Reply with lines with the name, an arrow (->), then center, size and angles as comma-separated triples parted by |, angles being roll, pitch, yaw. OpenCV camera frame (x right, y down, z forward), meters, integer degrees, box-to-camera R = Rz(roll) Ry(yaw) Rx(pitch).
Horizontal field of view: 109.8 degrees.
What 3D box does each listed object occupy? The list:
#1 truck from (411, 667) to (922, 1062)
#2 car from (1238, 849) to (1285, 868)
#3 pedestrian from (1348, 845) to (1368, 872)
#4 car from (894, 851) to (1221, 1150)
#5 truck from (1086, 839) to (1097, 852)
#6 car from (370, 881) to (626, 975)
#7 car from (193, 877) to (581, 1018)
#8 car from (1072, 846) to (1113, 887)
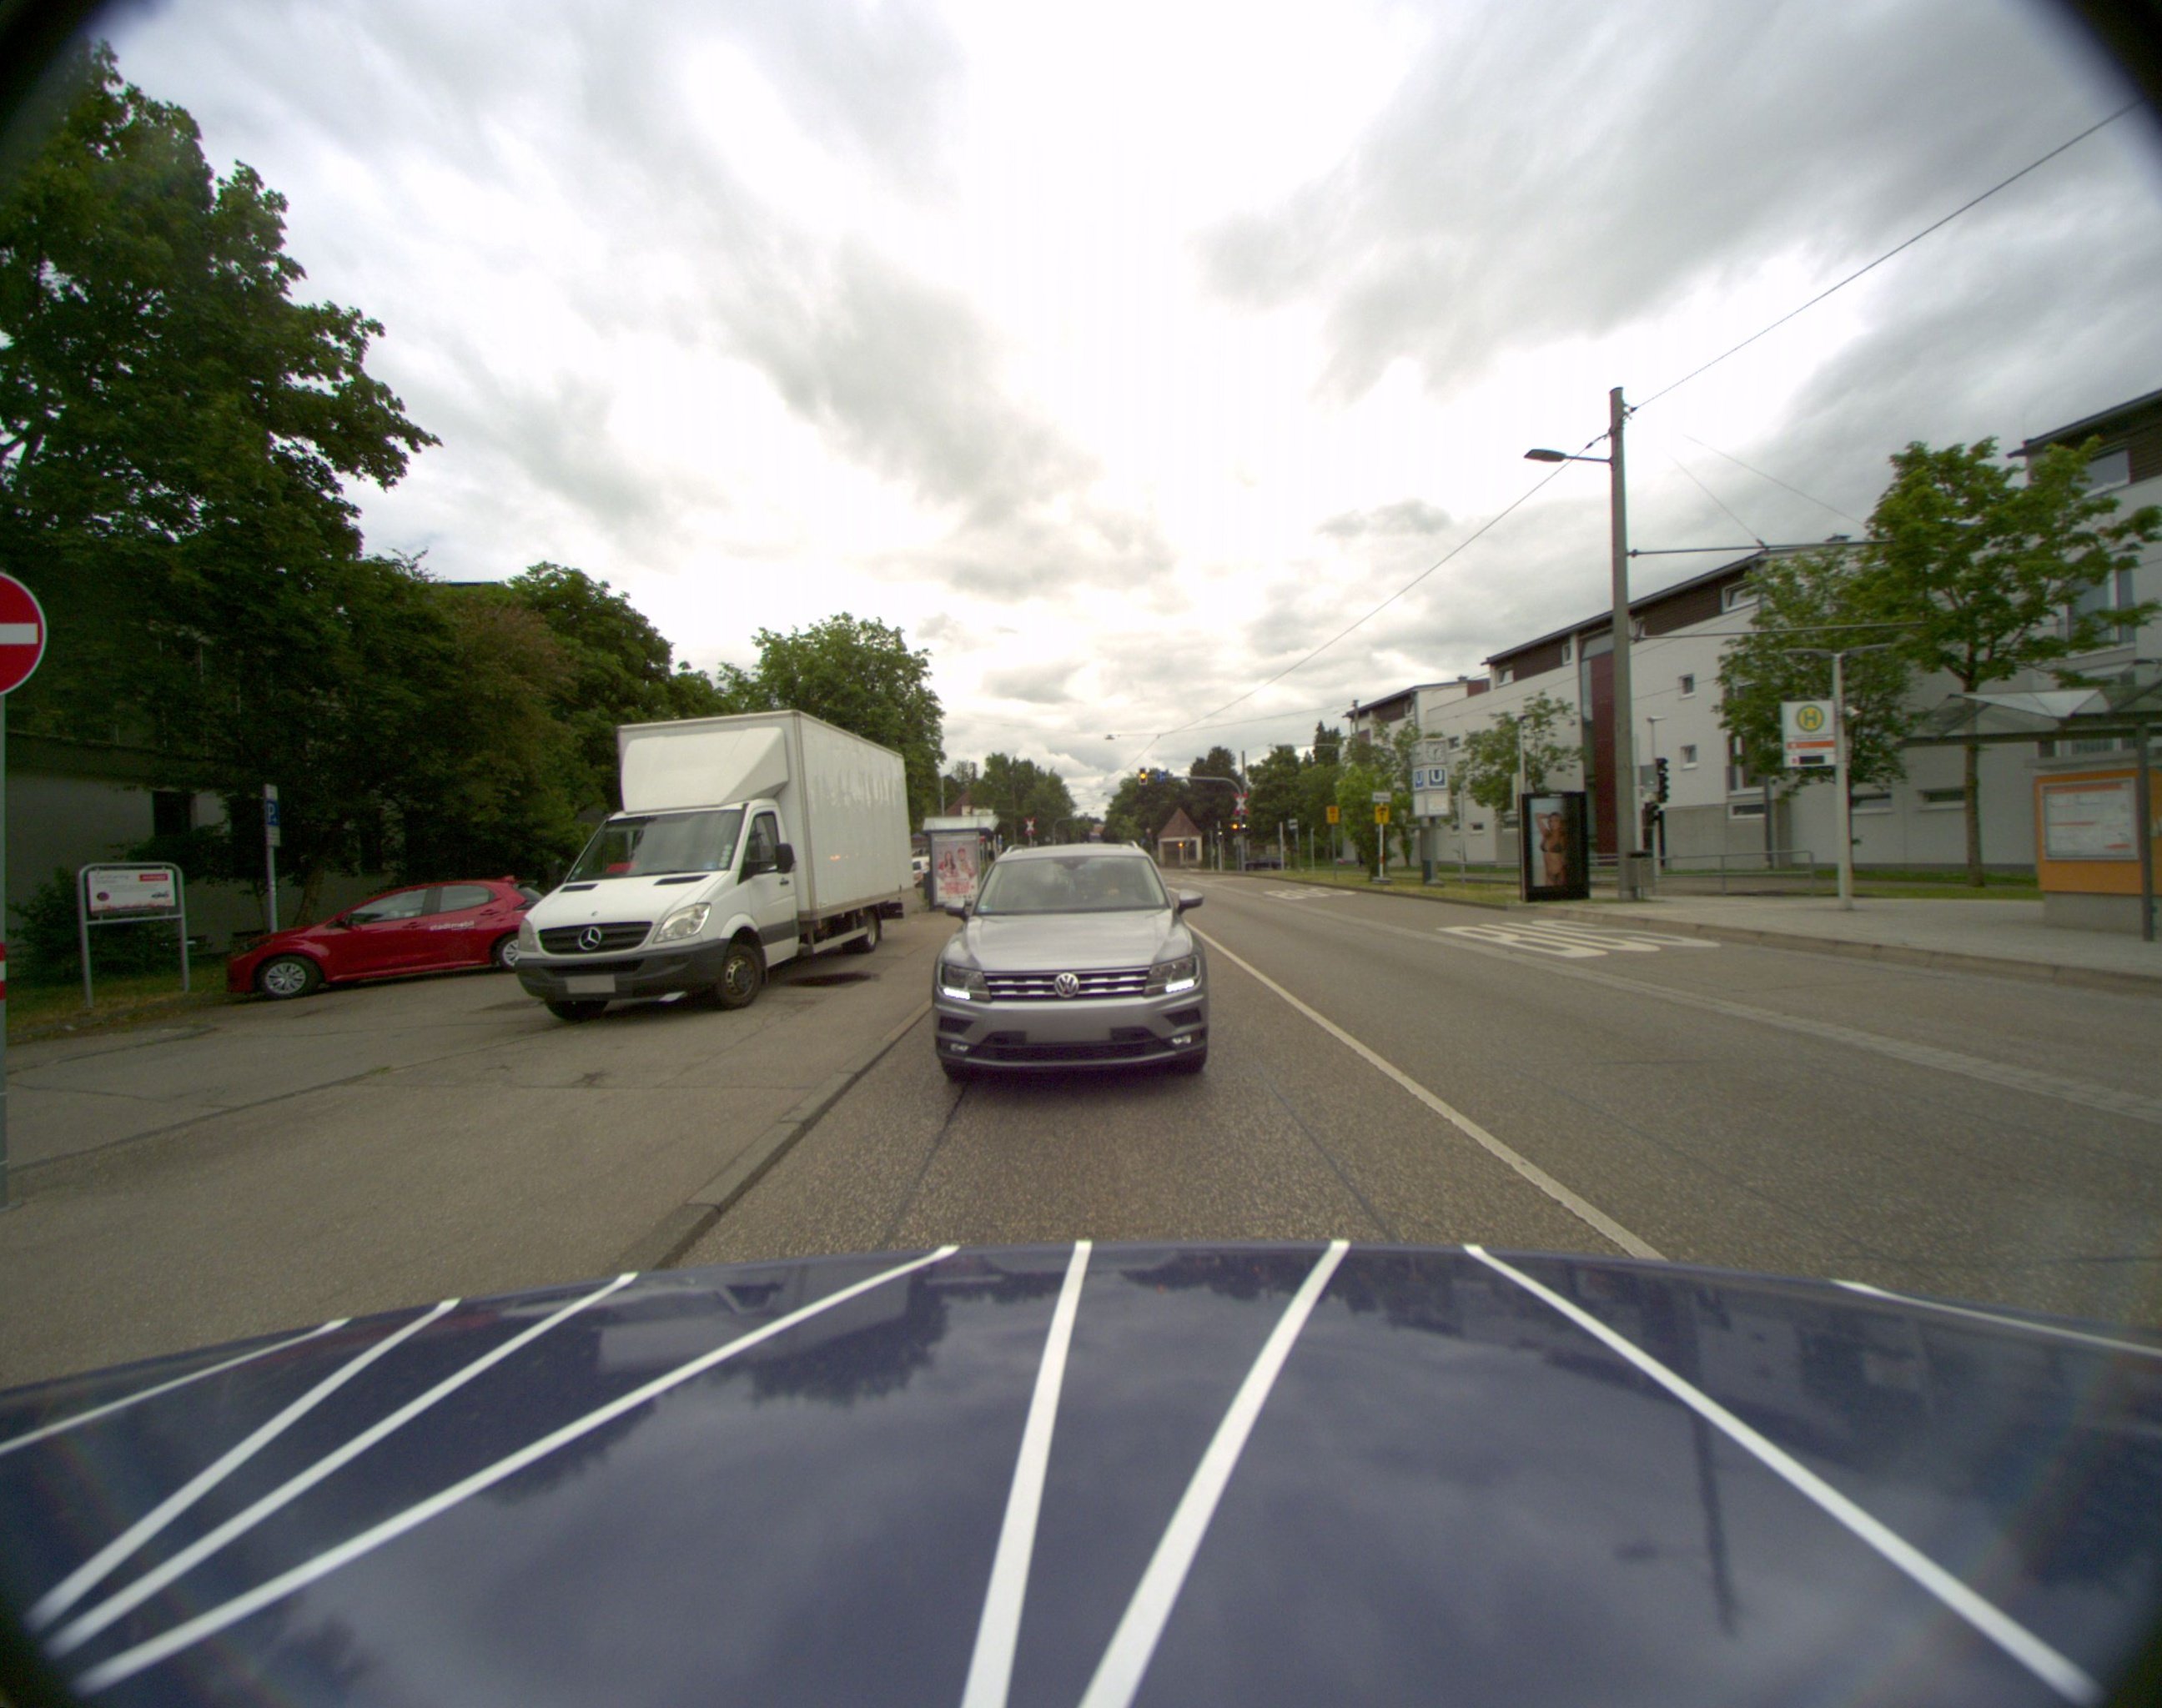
truck -> -4.487, 0.046, 10.626 | 2.541, 3.407, 7.775 | -2, 1, 2
car -> 17.500, 0.447, 73.781 | 3.998, 1.696, 1.928 | -2, 1, -3
pedestrian -> 16.639, 0.257, 45.607 | 0.782, 1.586, 0.780 | -2, 1, -8
car -> -0.104, 0.835, 6.513 | 1.811, 1.638, 4.330 | -2, 0, 1
truck -> 3.215, -2.694, 241.255 | 3.288, 4.076, 8.580 | -2, 1, 1
car -> -11.898, 1.437, 15.879 | 4.005, 1.402, 1.521 | -5, 2, -31
car -> -10.089, 1.272, 11.497 | 3.902, 1.475, 1.680 | -5, 2, -24
car -> 0.551, 0.571, 37.021 | 1.849, 1.850, 4.000 | -2, 0, 1
